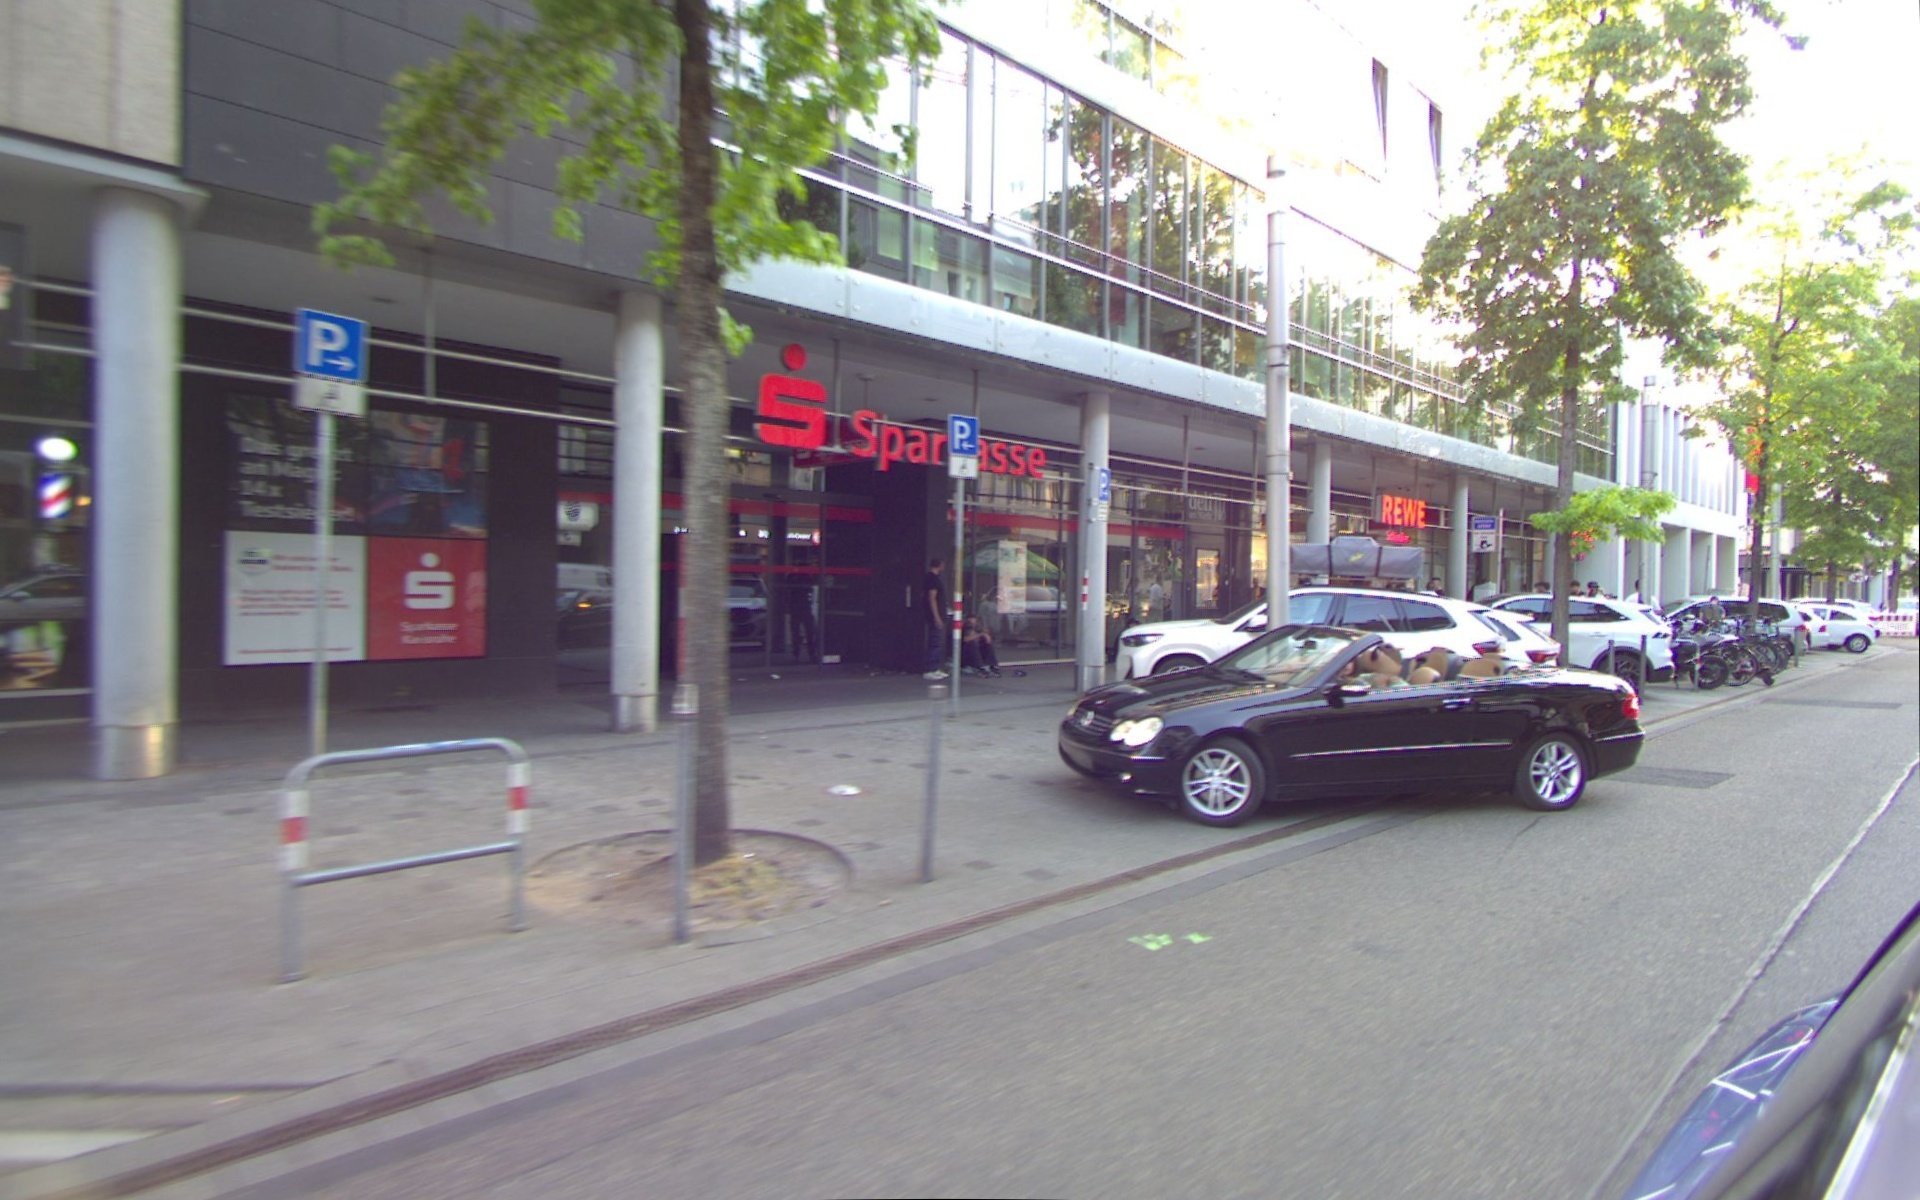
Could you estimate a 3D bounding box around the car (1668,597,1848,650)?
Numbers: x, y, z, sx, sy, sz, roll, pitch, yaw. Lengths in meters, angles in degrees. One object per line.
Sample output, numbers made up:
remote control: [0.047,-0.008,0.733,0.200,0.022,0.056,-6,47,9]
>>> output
car: [24.615,0.720,31.389,3.948,1.530,1.789,-2,-1,19]

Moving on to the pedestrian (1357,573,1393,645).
pedestrian: [10.068,0.215,24.545,0.617,1.712,0.557,0,2,-42]

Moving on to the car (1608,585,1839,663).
car: [19.909,0.645,26.597,4.396,1.904,1.794,-1,-1,12]

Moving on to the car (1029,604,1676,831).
car: [2.951,0.763,7.907,4.469,1.426,1.803,0,0,-13]

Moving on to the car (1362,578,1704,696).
car: [9.393,0.536,17.042,4.570,1.607,1.910,3,2,14]

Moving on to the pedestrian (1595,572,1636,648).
pedestrian: [15.209,0.222,23.487,0.617,1.712,0.617,0,2,-41]

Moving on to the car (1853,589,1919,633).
car: [41.345,0.454,43.771,3.919,1.809,1.867,-1,-1,-7]

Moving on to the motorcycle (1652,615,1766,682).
motorcycle: [13.989,0.889,18.941,1.554,1.113,0.624,3,2,24]

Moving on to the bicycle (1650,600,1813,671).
bicycle: [16.567,0.762,21.826,2.642,1.475,0.724,-1,-1,22]

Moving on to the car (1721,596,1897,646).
car: [27.692,0.694,33.166,3.948,1.530,1.853,-2,-1,19]

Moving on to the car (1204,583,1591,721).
car: [5.890,0.606,14.131,4.583,1.457,1.905,3,2,22]

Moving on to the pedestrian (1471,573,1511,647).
pedestrian: [12.484,0.222,23.778,0.617,1.712,0.617,0,2,-41]

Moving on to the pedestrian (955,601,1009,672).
pedestrian: [0.336,0.552,15.793,0.625,1.048,0.550,2,2,40]

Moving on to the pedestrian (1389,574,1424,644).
pedestrian: [11.067,0.207,25.070,0.617,1.712,0.557,0,2,-42]

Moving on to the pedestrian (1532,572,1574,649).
pedestrian: [13.499,0.230,23.032,0.617,1.712,0.617,0,2,-41]

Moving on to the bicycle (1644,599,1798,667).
bicycle: [17.122,0.749,22.843,2.643,1.475,0.671,-1,-1,23]

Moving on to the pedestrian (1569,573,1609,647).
pedestrian: [14.810,0.218,23.837,0.617,1.712,0.617,0,2,-41]

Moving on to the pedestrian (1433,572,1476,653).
pedestrian: [10.718,0.247,21.921,0.617,1.712,0.617,0,2,-41]

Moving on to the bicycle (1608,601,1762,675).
bicycle: [14.963,0.777,20.975,2.461,1.475,0.652,-1,-1,24]

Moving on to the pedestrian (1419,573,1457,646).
pedestrian: [11.570,0.214,24.487,0.617,1.712,0.617,0,2,-41]

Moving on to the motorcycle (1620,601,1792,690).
motorcycle: [13.060,0.774,17.780,2.071,1.370,1.157,2,2,0]

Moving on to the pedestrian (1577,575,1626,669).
pedestrian: [12.663,0.417,19.975,0.617,1.822,0.617,0,2,-41]

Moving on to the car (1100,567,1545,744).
car: [4.124,0.556,12.120,4.574,1.650,1.908,3,1,17]

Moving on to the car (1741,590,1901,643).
car: [30.928,0.600,36.503,3.957,1.809,1.849,-2,-1,25]

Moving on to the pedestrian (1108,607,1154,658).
pedestrian: [3.129,0.582,18.543,0.549,0.892,0.627,0,2,-42]

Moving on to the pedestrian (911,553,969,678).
pedestrian: [-0.297,0.209,14.963,0.617,1.794,0.557,0,2,-42]

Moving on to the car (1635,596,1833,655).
car: [21.484,0.705,28.254,3.937,1.530,1.794,-1,-1,12]

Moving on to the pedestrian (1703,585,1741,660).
pedestrian: [17.797,0.501,23.636,0.616,1.712,0.618,1,0,44]
